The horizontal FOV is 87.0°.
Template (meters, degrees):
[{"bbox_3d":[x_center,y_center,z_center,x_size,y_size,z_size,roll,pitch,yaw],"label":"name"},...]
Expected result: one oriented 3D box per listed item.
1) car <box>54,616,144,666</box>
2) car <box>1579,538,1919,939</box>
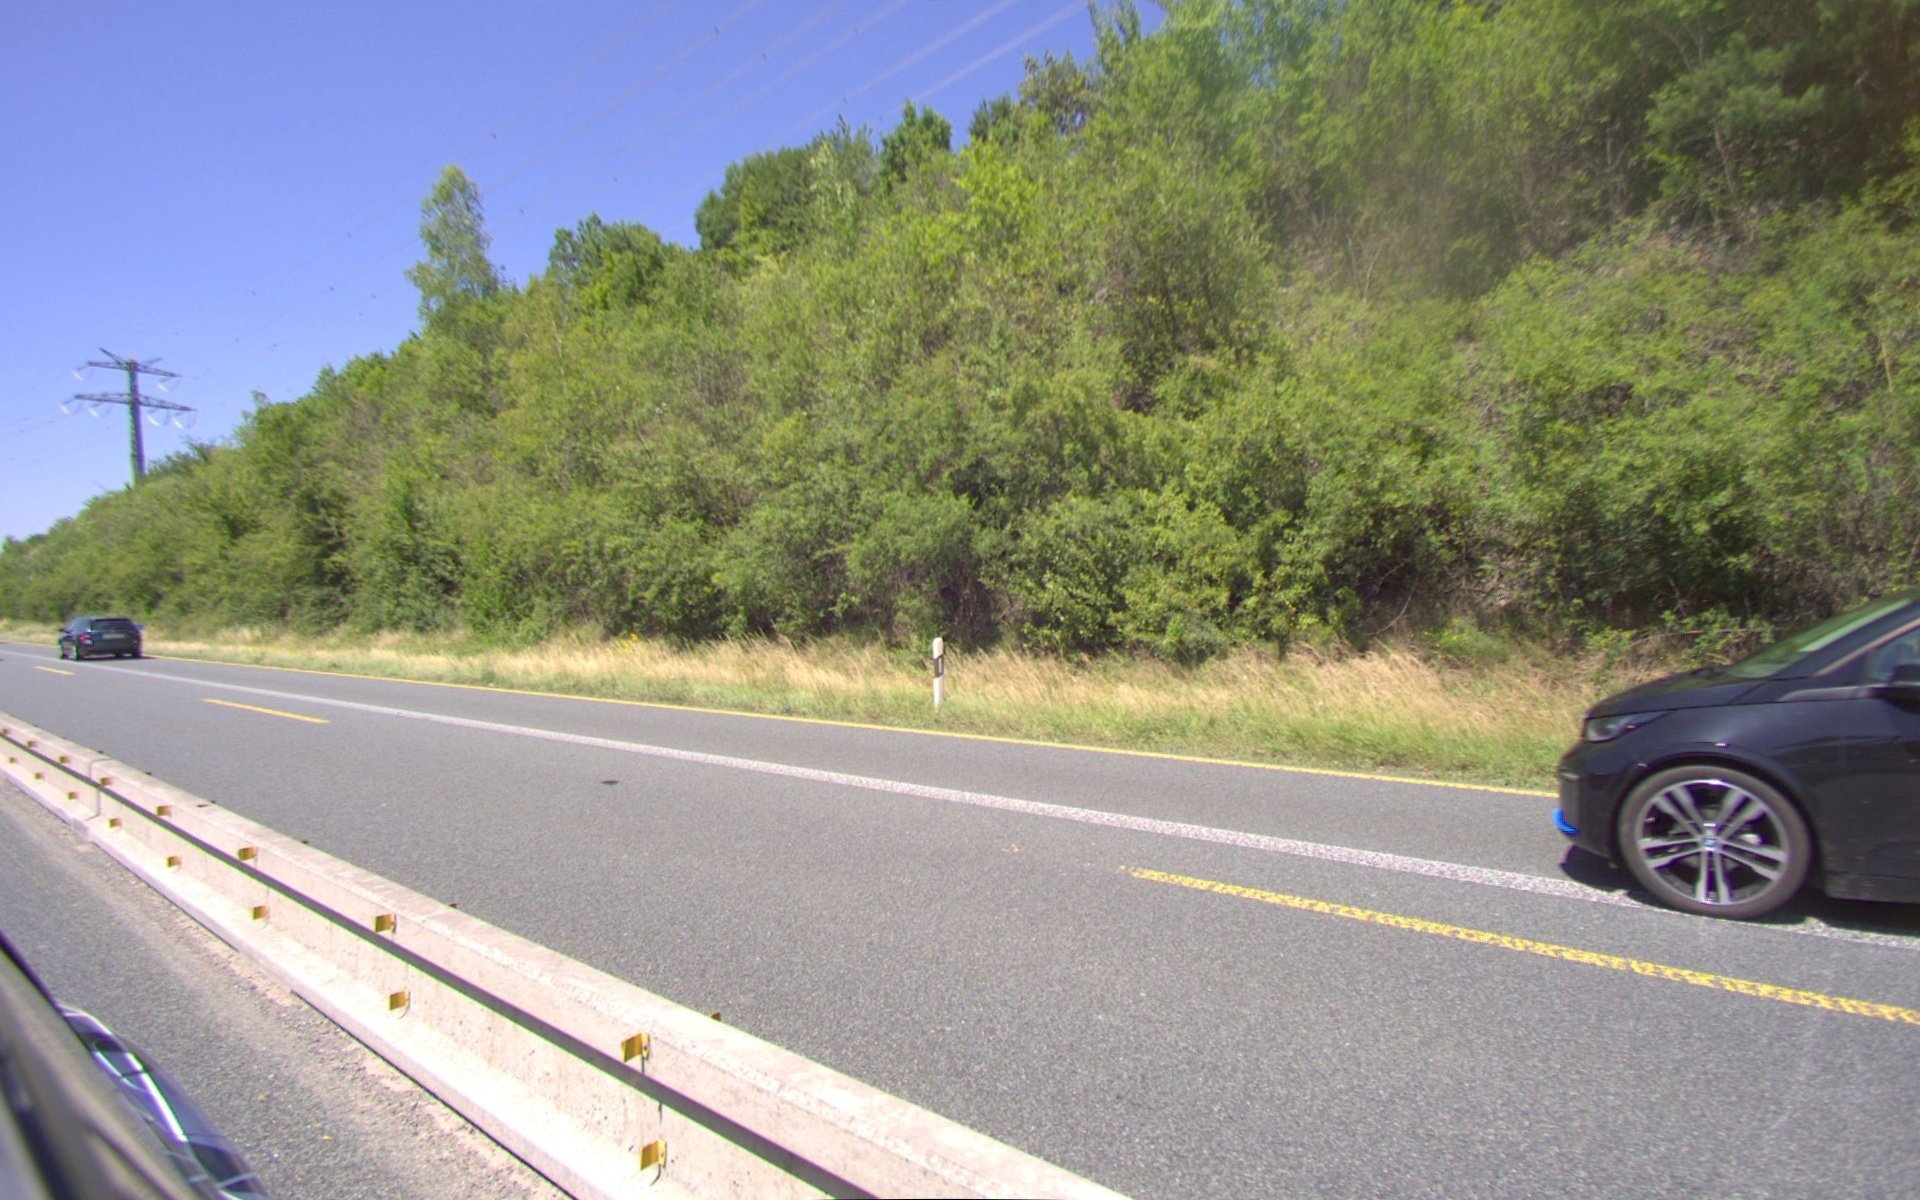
[{"bbox_3d":[-28.982,1.342,34.012,4.182,1.533,1.705,-1,0,41],"label":"car"},{"bbox_3d":[5.032,0.525,4.096,4.067,1.588,1.760,-1,0,41],"label":"car"}]
